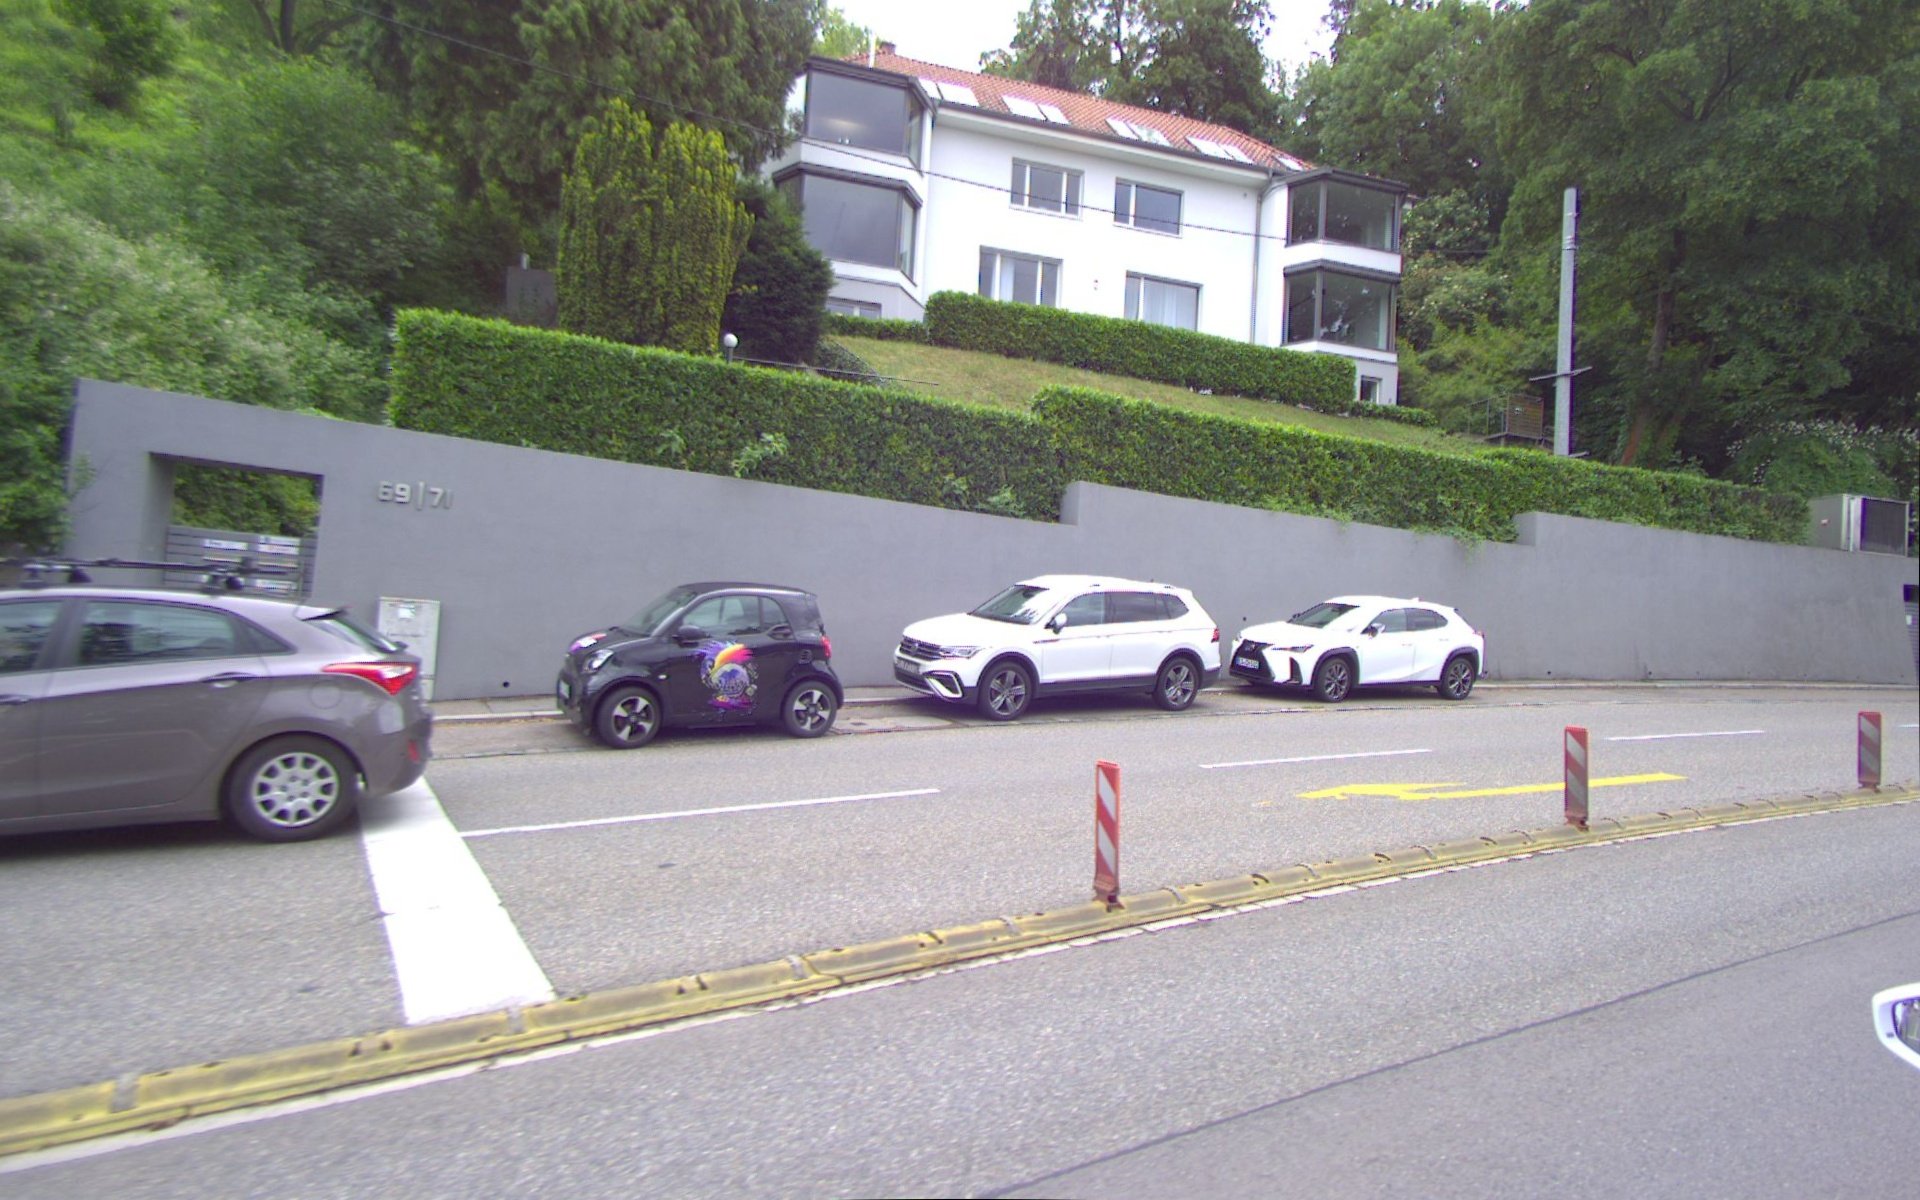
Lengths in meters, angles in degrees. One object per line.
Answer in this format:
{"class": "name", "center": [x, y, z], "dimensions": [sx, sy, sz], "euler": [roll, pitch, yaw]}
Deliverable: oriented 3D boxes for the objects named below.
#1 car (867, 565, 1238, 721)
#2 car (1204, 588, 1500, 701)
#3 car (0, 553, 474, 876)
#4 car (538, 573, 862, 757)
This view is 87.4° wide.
{"class": "car", "center": [1.307, 0.507, 13.344], "dimensions": [4.707, 1.754, 1.849], "euler": [1, 2, -31]}
{"class": "car", "center": [6.286, 0.683, 16.092], "dimensions": [4.413, 1.593, 1.828], "euler": [2, 1, -24]}
{"class": "car", "center": [-5.208, 0.566, 5.778], "dimensions": [4.162, 1.619, 1.701], "euler": [2, 0, -33]}
{"class": "car", "center": [-2.729, 0.573, 10.565], "dimensions": [2.925, 1.594, 1.701], "euler": [0, 4, -33]}
